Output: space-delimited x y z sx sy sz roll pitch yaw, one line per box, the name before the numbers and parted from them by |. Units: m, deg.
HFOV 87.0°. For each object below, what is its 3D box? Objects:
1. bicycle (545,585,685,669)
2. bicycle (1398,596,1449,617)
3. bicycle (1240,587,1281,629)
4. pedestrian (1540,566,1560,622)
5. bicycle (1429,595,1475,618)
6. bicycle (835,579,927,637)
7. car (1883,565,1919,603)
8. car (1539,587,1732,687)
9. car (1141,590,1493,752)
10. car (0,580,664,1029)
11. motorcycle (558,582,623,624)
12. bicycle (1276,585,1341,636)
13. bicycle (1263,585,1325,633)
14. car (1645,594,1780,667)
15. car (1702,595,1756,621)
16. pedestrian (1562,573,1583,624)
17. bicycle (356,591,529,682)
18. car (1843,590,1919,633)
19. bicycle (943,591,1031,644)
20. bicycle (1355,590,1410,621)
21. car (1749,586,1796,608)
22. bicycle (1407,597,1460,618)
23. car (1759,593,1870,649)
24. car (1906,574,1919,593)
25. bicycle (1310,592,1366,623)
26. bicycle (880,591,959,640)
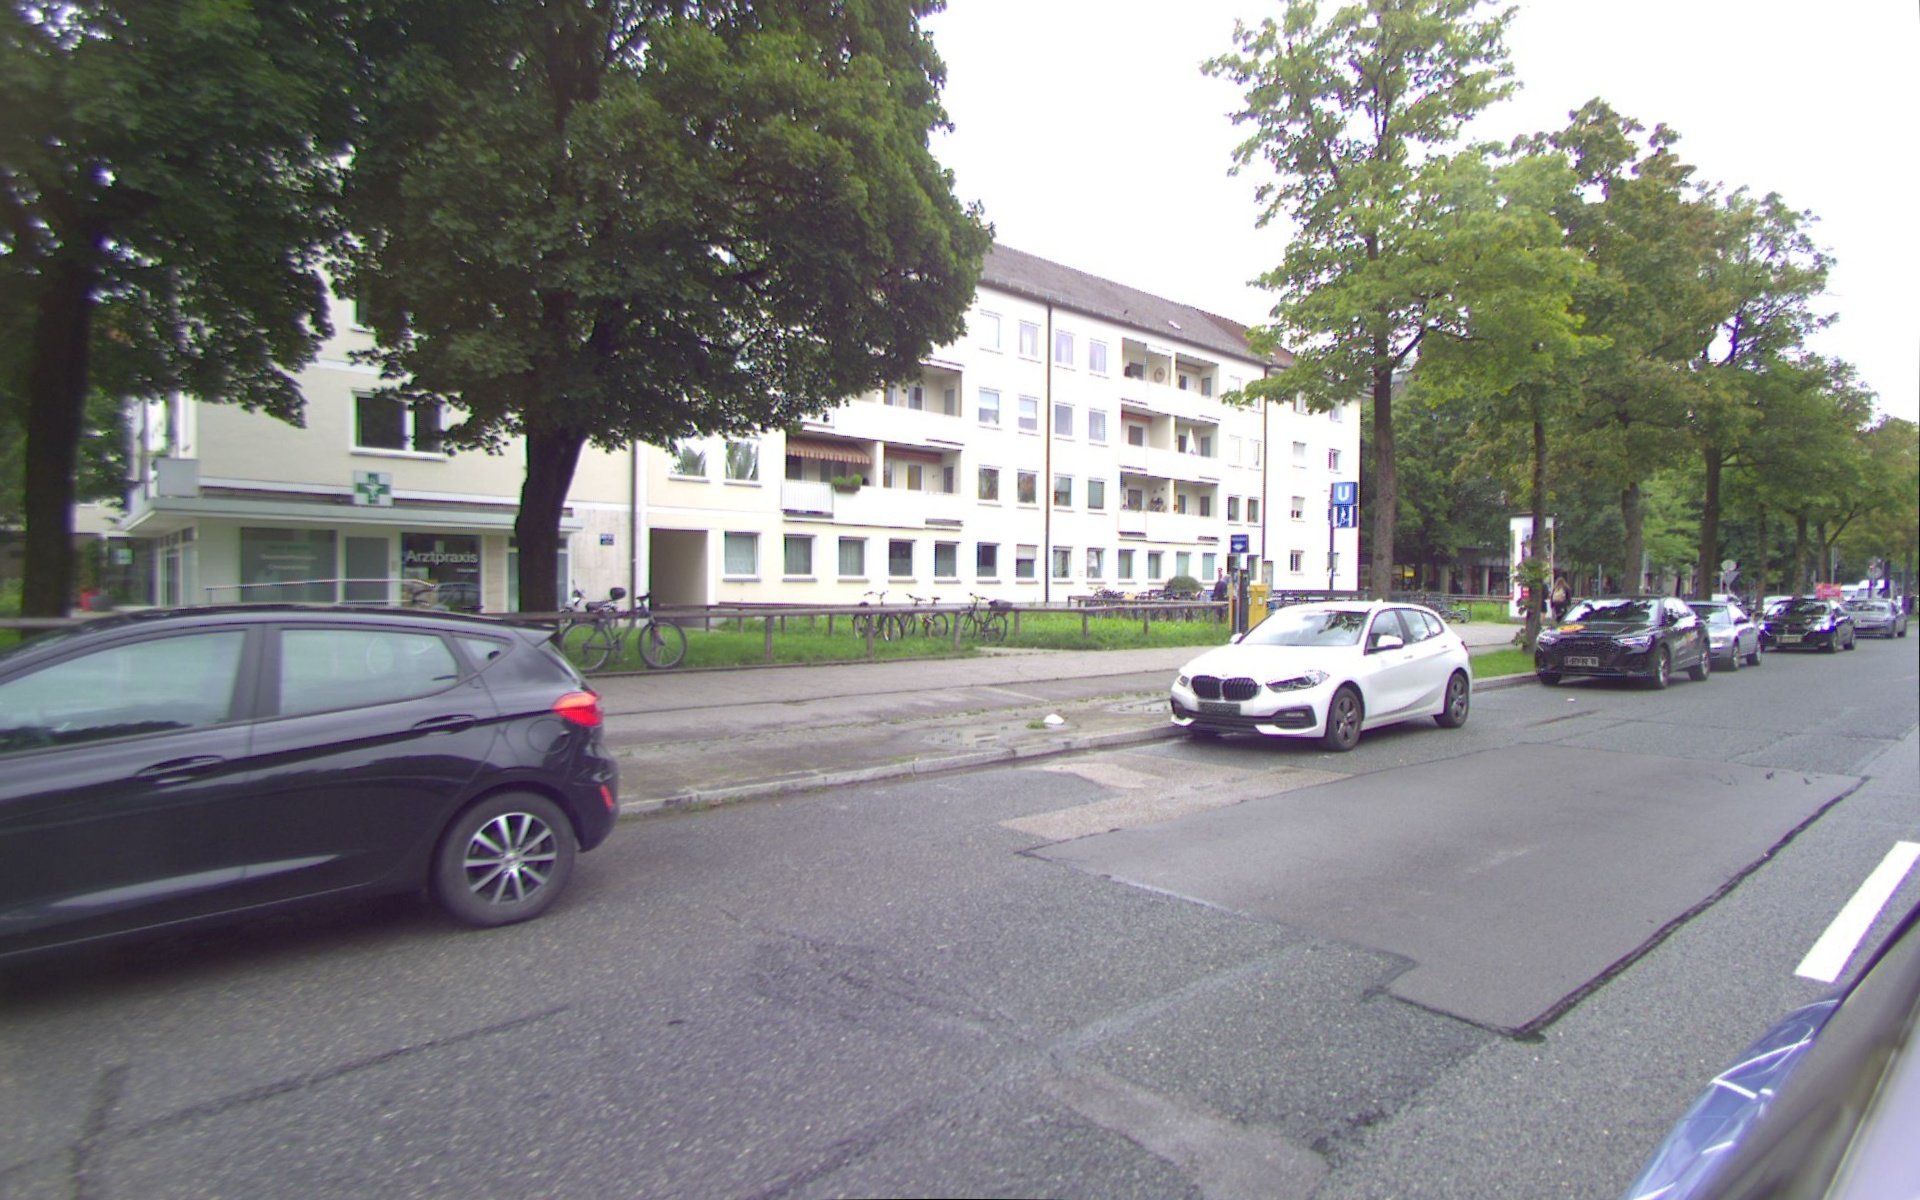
bicycle | -4.629 0.334 13.654 1.738 1.068 0.470 -1 0 -42
bicycle | 16.749 0.234 36.573 0.490 0.704 1.595 0 1 -45
bicycle | 8.164 0.209 27.485 1.231 1.130 0.466 0 1 -41
pedestrian | 19.108 -0.209 32.777 0.555 1.778 0.651 0 0 30
bicycle | 17.766 0.236 36.562 0.490 0.722 1.389 0 3 -45
bicycle | -1.575 0.130 19.816 0.653 1.081 2.027 0 1 -45
car | 62.916 -1.066 67.051 4.912 2.485 1.997 -1 1 -40
car | 11.799 0.547 17.584 4.085 1.530 1.824 -1 1 -41
car | 4.067 0.640 11.189 4.212 1.455 1.824 -1 -1 -41
car | -3.437 0.677 4.265 3.887 1.496 1.647 0 0 -41
motorcycle | -10.157 0.070 27.852 1.593 1.134 0.606 0 1 -41
bicycle | 8.648 0.238 25.077 2.039 1.203 0.545 0 1 -41
bicycle | 8.697 0.223 26.327 2.039 1.203 0.545 0 1 -41
car | 16.070 0.572 21.548 3.860 1.397 1.615 -1 1 -42
car | 47.420 0.467 62.375 4.225 1.487 1.825 -1 1 -41
pedestrian | 19.603 -0.057 32.399 0.555 1.625 0.515 1 0 30
bicycle | -6.255 0.406 12.301 1.820 1.028 0.448 0 1 -41
car | 33.982 0.376 37.131 4.225 1.487 1.825 -1 1 -41
bicycle | 0.568 0.352 21.956 0.653 1.081 2.027 0 1 -45
bicycle | 13.965 0.171 33.452 0.490 0.927 1.596 0 2 -45
car | 57.553 -0.232 71.652 4.225 1.486 1.826 0 1 -41
bicycle | 16.644 0.259 35.629 0.490 0.645 1.596 0 4 -45
car | 23.666 0.524 27.976 4.227 1.397 1.825 -1 1 -42
car | 127.660 -2.145 134.855 4.915 2.485 1.996 0 1 -42
bicycle | 11.902 0.230 31.880 0.490 0.927 1.595 0 1 -45
bicycle | -0.970 0.347 23.708 0.653 1.081 2.027 0 1 -45
